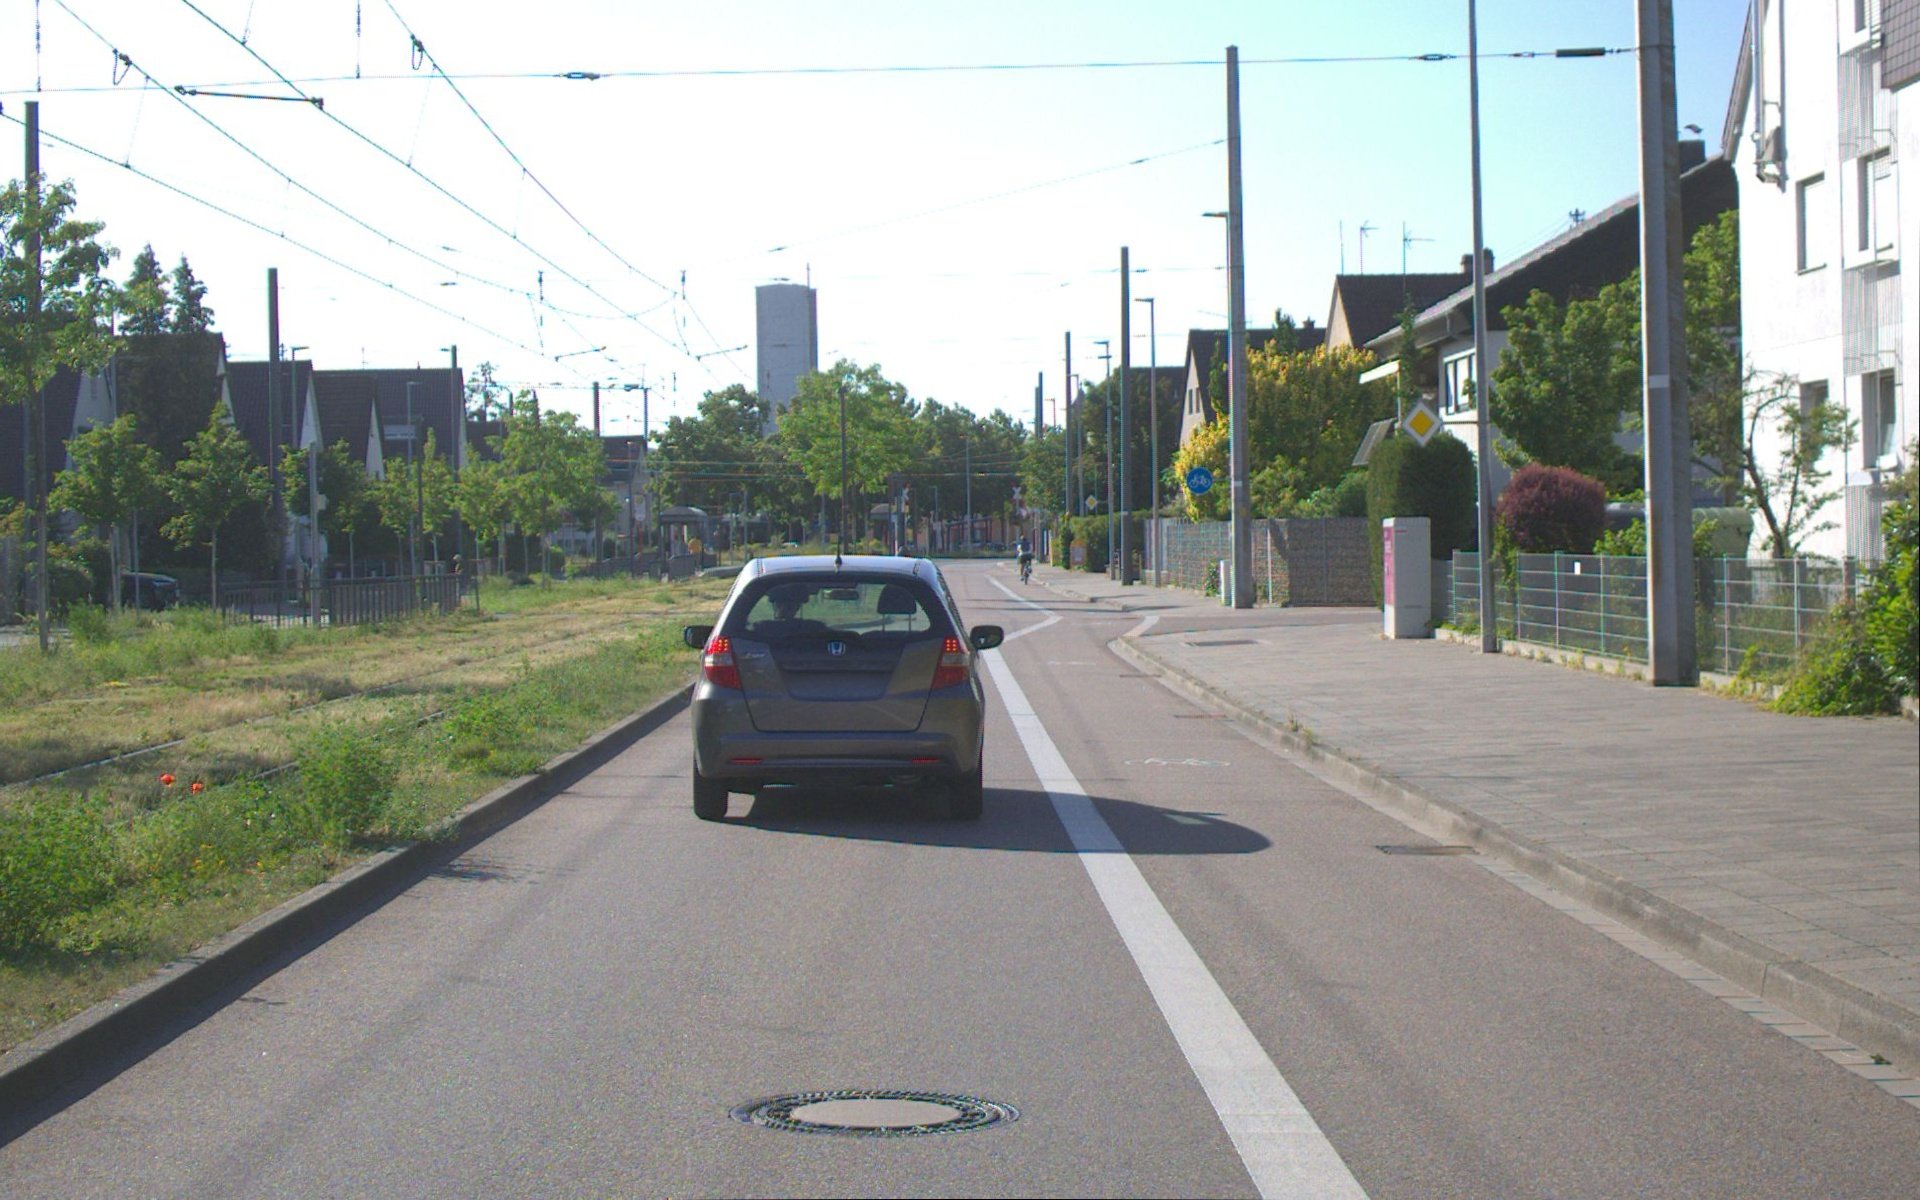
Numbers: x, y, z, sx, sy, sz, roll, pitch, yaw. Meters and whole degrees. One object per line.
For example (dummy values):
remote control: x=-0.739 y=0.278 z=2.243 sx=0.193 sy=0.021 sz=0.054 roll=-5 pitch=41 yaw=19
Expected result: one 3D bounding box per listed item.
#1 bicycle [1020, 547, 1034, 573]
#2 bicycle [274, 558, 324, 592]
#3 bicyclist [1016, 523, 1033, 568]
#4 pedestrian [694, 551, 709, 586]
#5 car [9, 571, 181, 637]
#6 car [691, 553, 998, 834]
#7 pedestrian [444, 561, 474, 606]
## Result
bicycle: x=2.500 y=-1.502 z=128.713 sx=0.475 sy=0.958 sz=1.657 roll=1 pitch=0 yaw=0
bicycle: x=-27.359 y=-1.030 z=142.301 sx=1.988 sy=1.361 sz=0.705 roll=-1 pitch=0 yaw=-7
bicyclist: x=2.419 y=-2.034 z=128.491 sx=0.598 sy=1.695 sz=0.683 roll=1 pitch=0 yaw=0
pedestrian: x=-11.561 y=-1.404 z=153.802 sx=0.675 sy=1.530 sz=0.749 roll=-1 pitch=1 yaw=-5
car: x=-24.190 y=0.103 z=96.300 sx=4.539 sy=1.728 sz=2.053 roll=-1 pitch=1 yaw=-12
car: x=-0.696 y=0.516 z=20.756 sx=1.670 sy=1.530 sz=3.487 roll=1 pitch=0 yaw=-2
pedestrian: x=-18.523 y=-0.620 z=127.080 sx=0.965 sy=1.635 sz=1.086 roll=-1 pitch=0 yaw=0
